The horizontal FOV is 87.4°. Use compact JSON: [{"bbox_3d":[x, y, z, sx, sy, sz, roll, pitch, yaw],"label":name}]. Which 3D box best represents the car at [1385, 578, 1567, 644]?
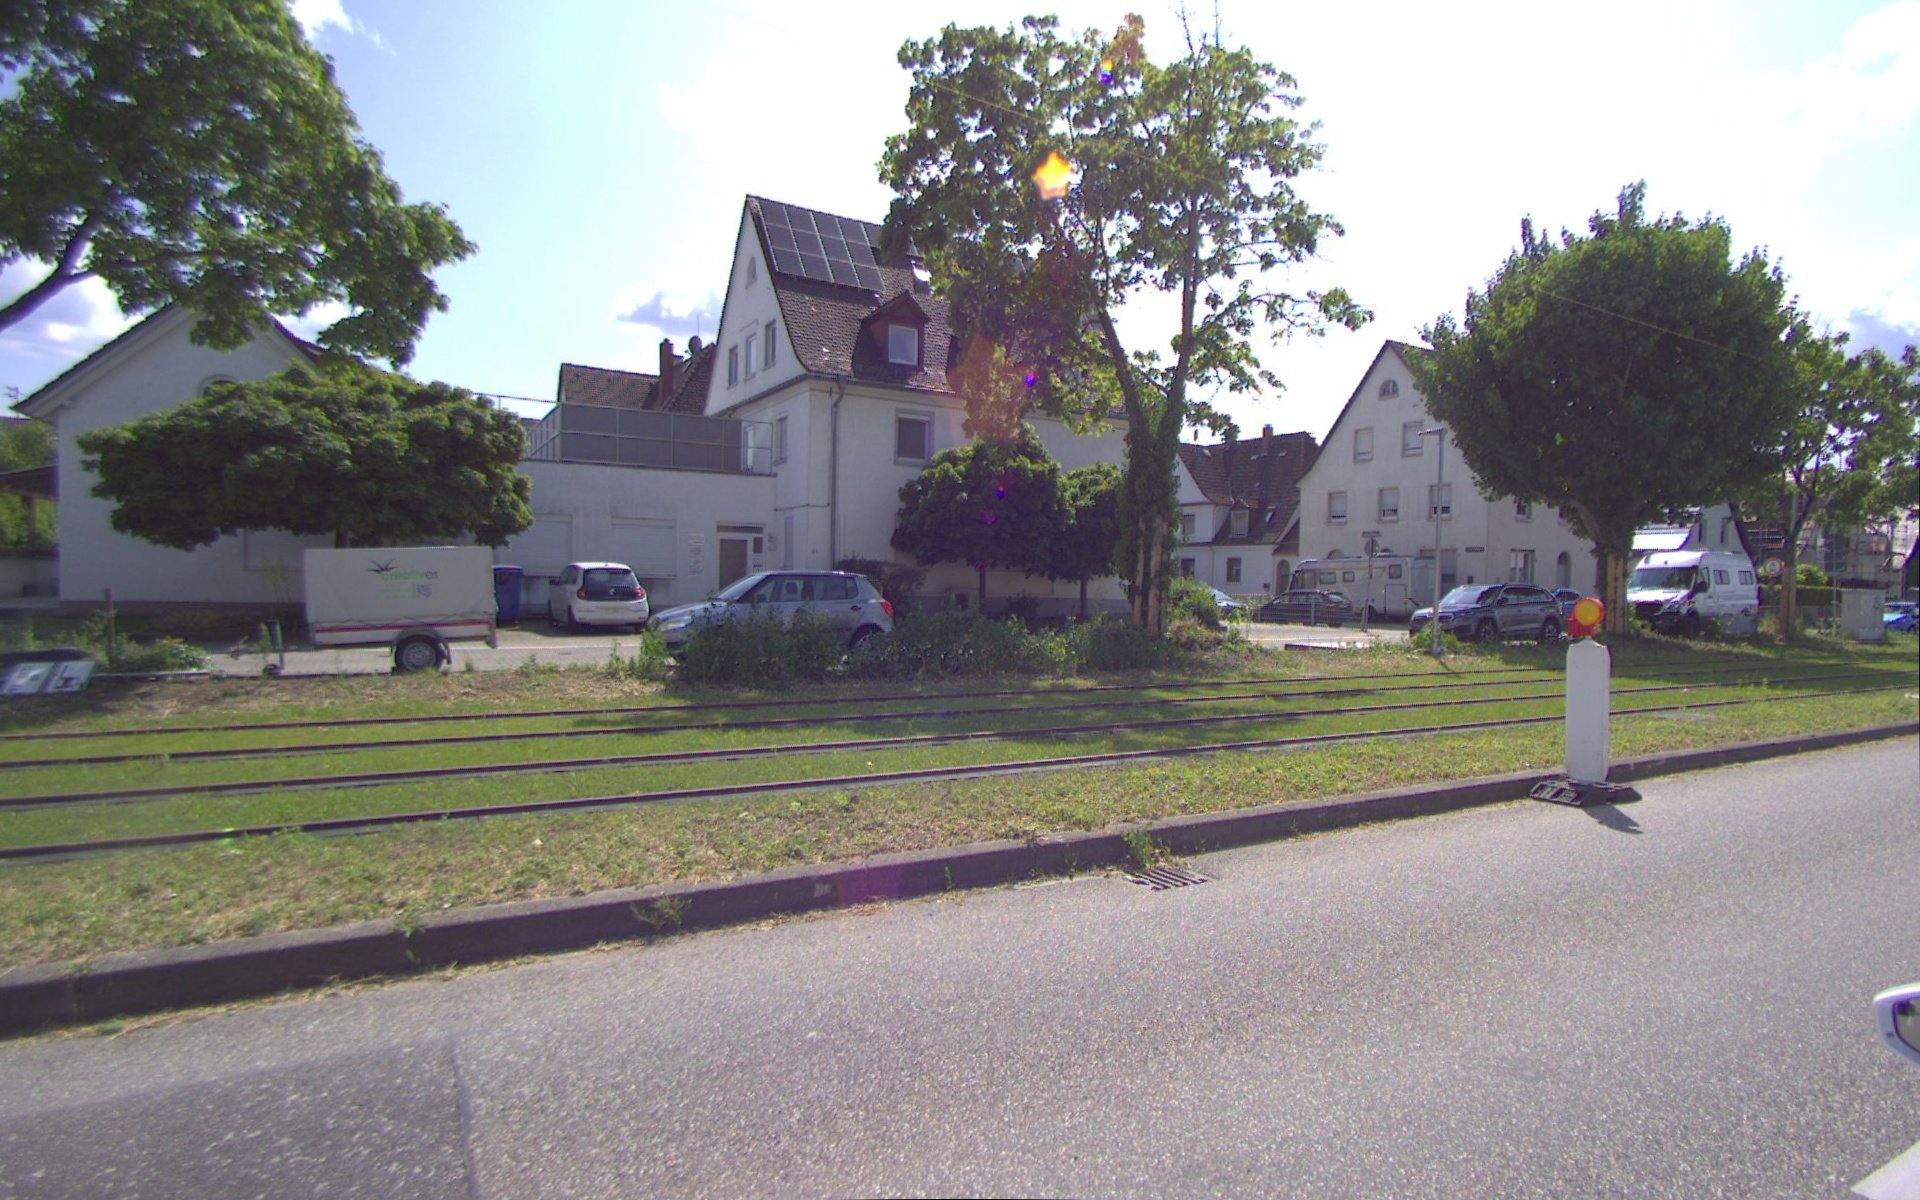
[{"bbox_3d":[13.031,0.278,25.324,4.433,1.526,1.984,1,0,-30],"label":"car"}]

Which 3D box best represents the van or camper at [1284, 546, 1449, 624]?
[{"bbox_3d":[18.158,-0.689,45.300,2.603,3.265,6.695,0,1,-30],"label":"van or camper"}]

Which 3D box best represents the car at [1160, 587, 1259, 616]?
[{"bbox_3d":[10.751,0.056,43.523,1.976,1.149,3.968,1,0,-29],"label":"car"}]

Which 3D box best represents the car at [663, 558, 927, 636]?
[{"bbox_3d":[-2.616,-0.020,16.074,3.791,1.108,1.772,1,0,-30],"label":"car"}]

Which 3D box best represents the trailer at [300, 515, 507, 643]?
[{"bbox_3d":[-7.238,-0.246,13.159,2.255,1.539,1.293,1,1,-30],"label":"trailer"}]

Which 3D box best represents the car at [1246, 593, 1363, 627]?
[{"bbox_3d":[13.333,0.365,39.097,2.022,1.177,3.968,1,0,-30],"label":"car"}]

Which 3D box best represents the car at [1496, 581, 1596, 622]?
[{"bbox_3d":[24.521,0.082,42.020,3.952,1.598,1.894,1,0,-30],"label":"car"}]

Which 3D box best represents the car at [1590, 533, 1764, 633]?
[{"bbox_3d":[21.768,-0.475,30.377,6.391,2.767,1.982,0,1,-32],"label":"car"}]

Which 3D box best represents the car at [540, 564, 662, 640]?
[{"bbox_3d":[-8.321,-0.002,23.072,1.976,1.548,3.968,-2,2,-30],"label":"car"}]

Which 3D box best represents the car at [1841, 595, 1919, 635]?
[{"bbox_3d":[36.130,0.600,38.914,3.840,1.455,1.747,1,0,-28],"label":"car"}]
